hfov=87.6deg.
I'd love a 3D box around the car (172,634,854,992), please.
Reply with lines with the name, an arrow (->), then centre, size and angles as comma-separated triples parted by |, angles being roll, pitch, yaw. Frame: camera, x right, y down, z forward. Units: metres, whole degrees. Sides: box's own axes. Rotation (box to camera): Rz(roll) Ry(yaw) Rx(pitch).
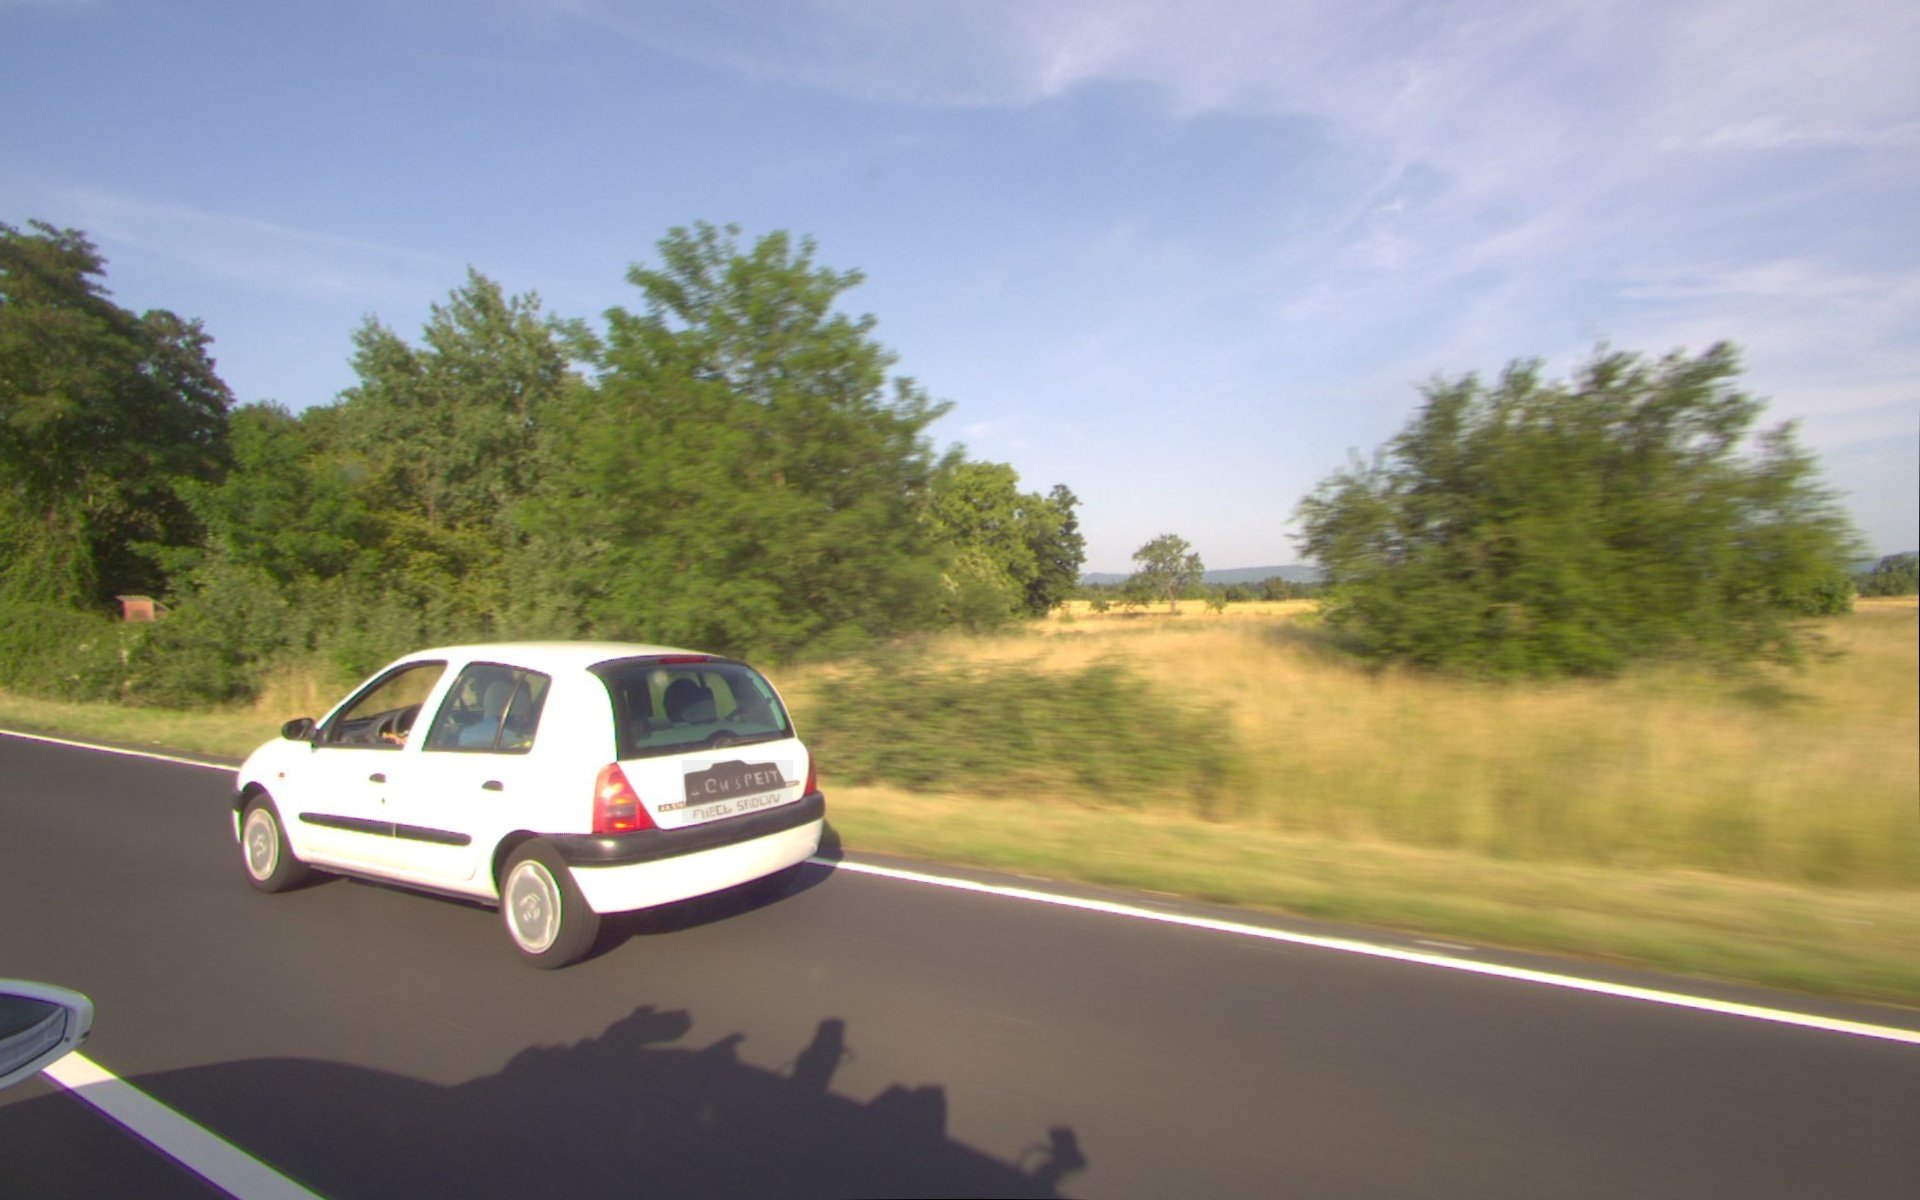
car -> -2.636, 0.895, 5.662 | 3.894, 1.405, 1.615 | -1, -2, 32
